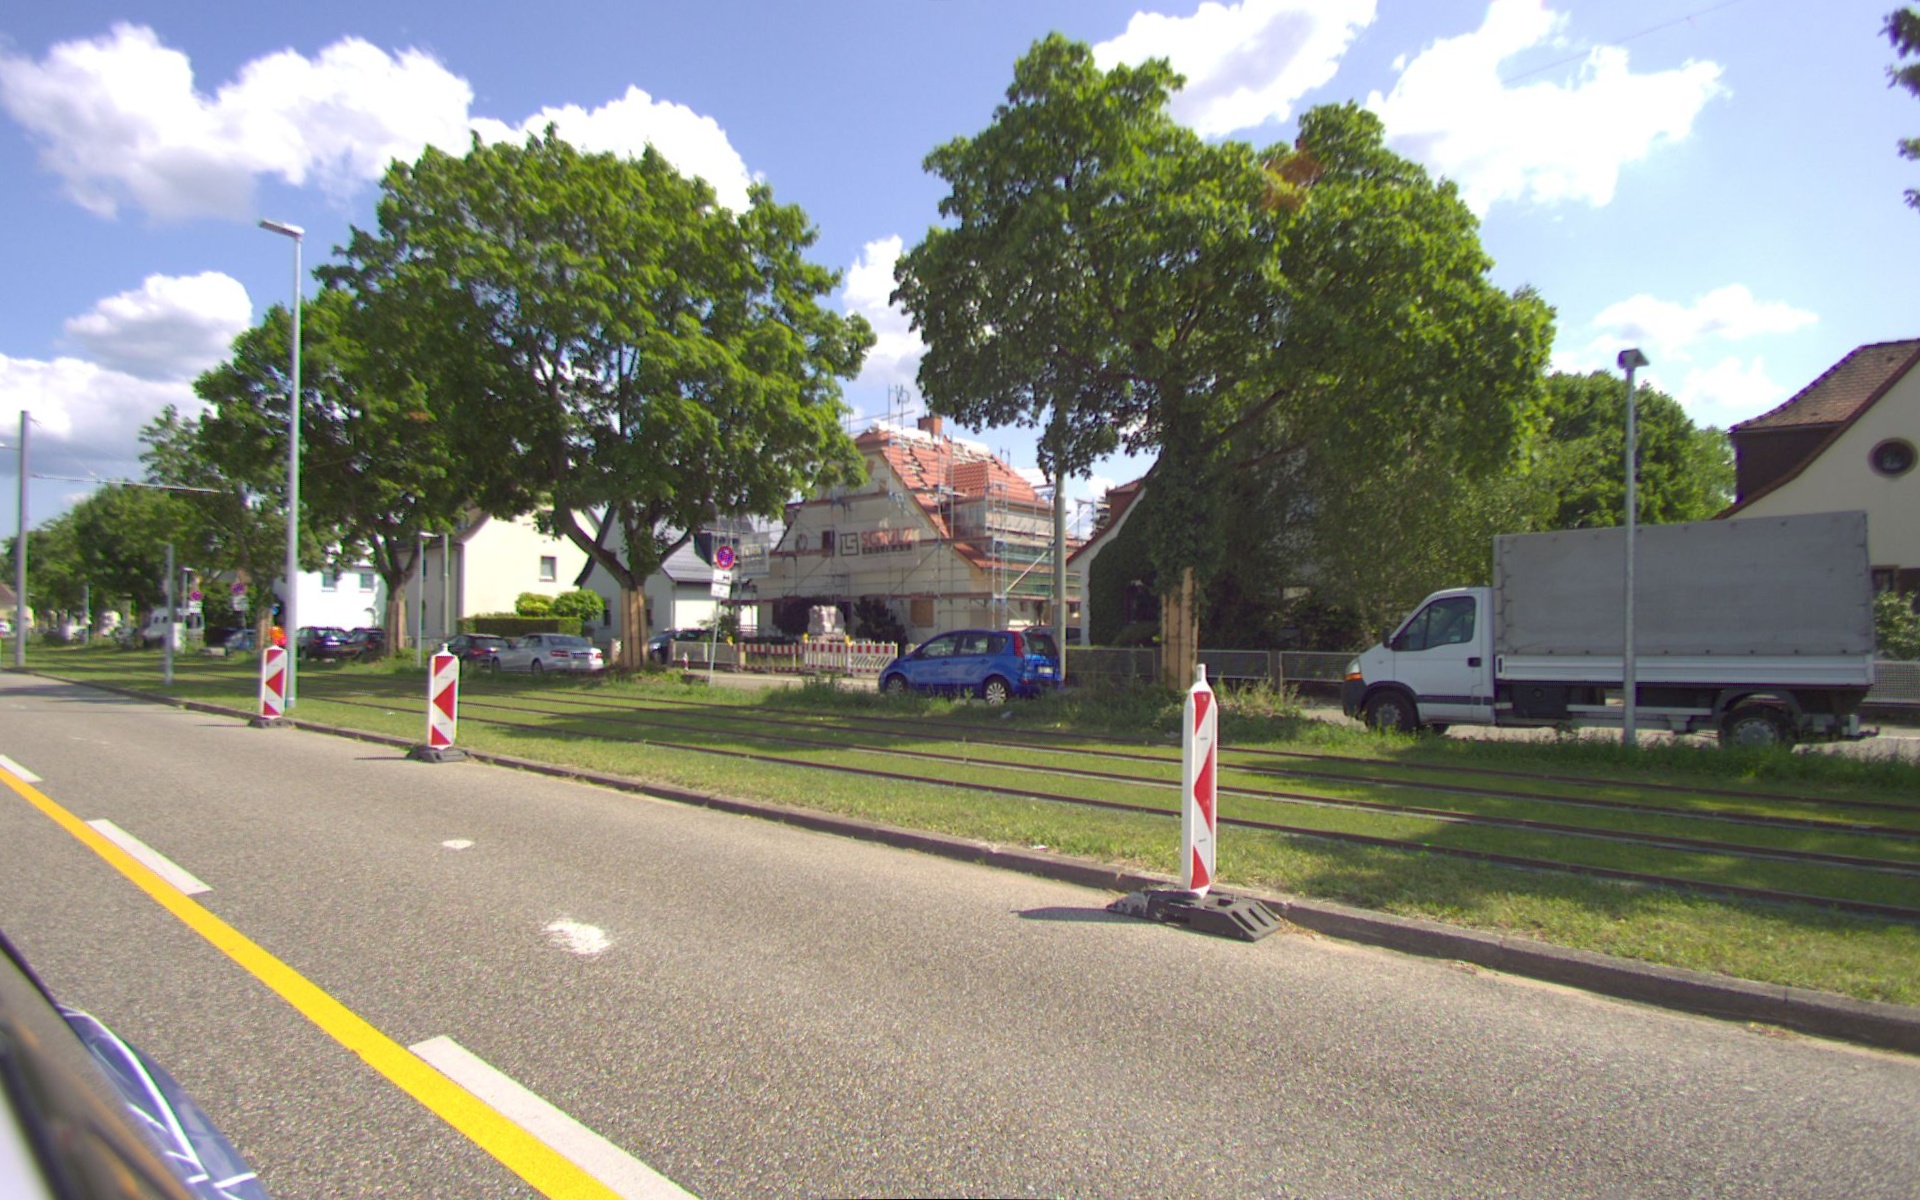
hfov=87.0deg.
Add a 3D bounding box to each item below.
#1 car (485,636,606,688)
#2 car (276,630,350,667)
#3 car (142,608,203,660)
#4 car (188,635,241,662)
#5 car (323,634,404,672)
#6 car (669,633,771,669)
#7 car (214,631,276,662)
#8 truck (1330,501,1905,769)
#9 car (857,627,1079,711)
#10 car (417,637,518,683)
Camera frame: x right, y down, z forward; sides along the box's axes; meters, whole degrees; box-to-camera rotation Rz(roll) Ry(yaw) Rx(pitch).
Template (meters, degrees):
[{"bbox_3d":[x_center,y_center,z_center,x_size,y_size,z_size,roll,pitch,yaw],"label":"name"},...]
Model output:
[{"bbox_3d":[-13.116,1.939,31.860,4.520,1.497,1.765,-4,-3,42],"label":"car"},{"bbox_3d":[-29.490,2.233,46.078,4.403,1.584,1.680,-3,-3,41],"label":"car"},{"bbox_3d":[-49.511,2.172,63.611,5.080,3.061,2.108,-3,-3,41],"label":"car"},{"bbox_3d":[-44.471,2.886,60.334,4.403,1.497,1.680,-3,-3,41],"label":"car"},{"bbox_3d":[-25.175,2.261,42.654,4.403,1.497,1.680,-3,-3,41],"label":"car"},{"bbox_3d":[-10.921,2.301,46.213,1.702,1.497,4.345,-3,-3,41],"label":"car"},{"bbox_3d":[-37.489,2.437,53.053,4.403,1.497,1.680,-3,-3,41],"label":"car"},{"bbox_3d":[8.302,0.459,13.404,5.971,2.802,2.242,-2,-3,41],"label":"truck"},{"bbox_3d":[0.063,1.357,20.274,4.403,1.497,1.680,-3,-3,41],"label":"car"},{"bbox_3d":[-17.516,2.126,35.896,4.403,1.497,1.680,-3,-3,41],"label":"car"}]
